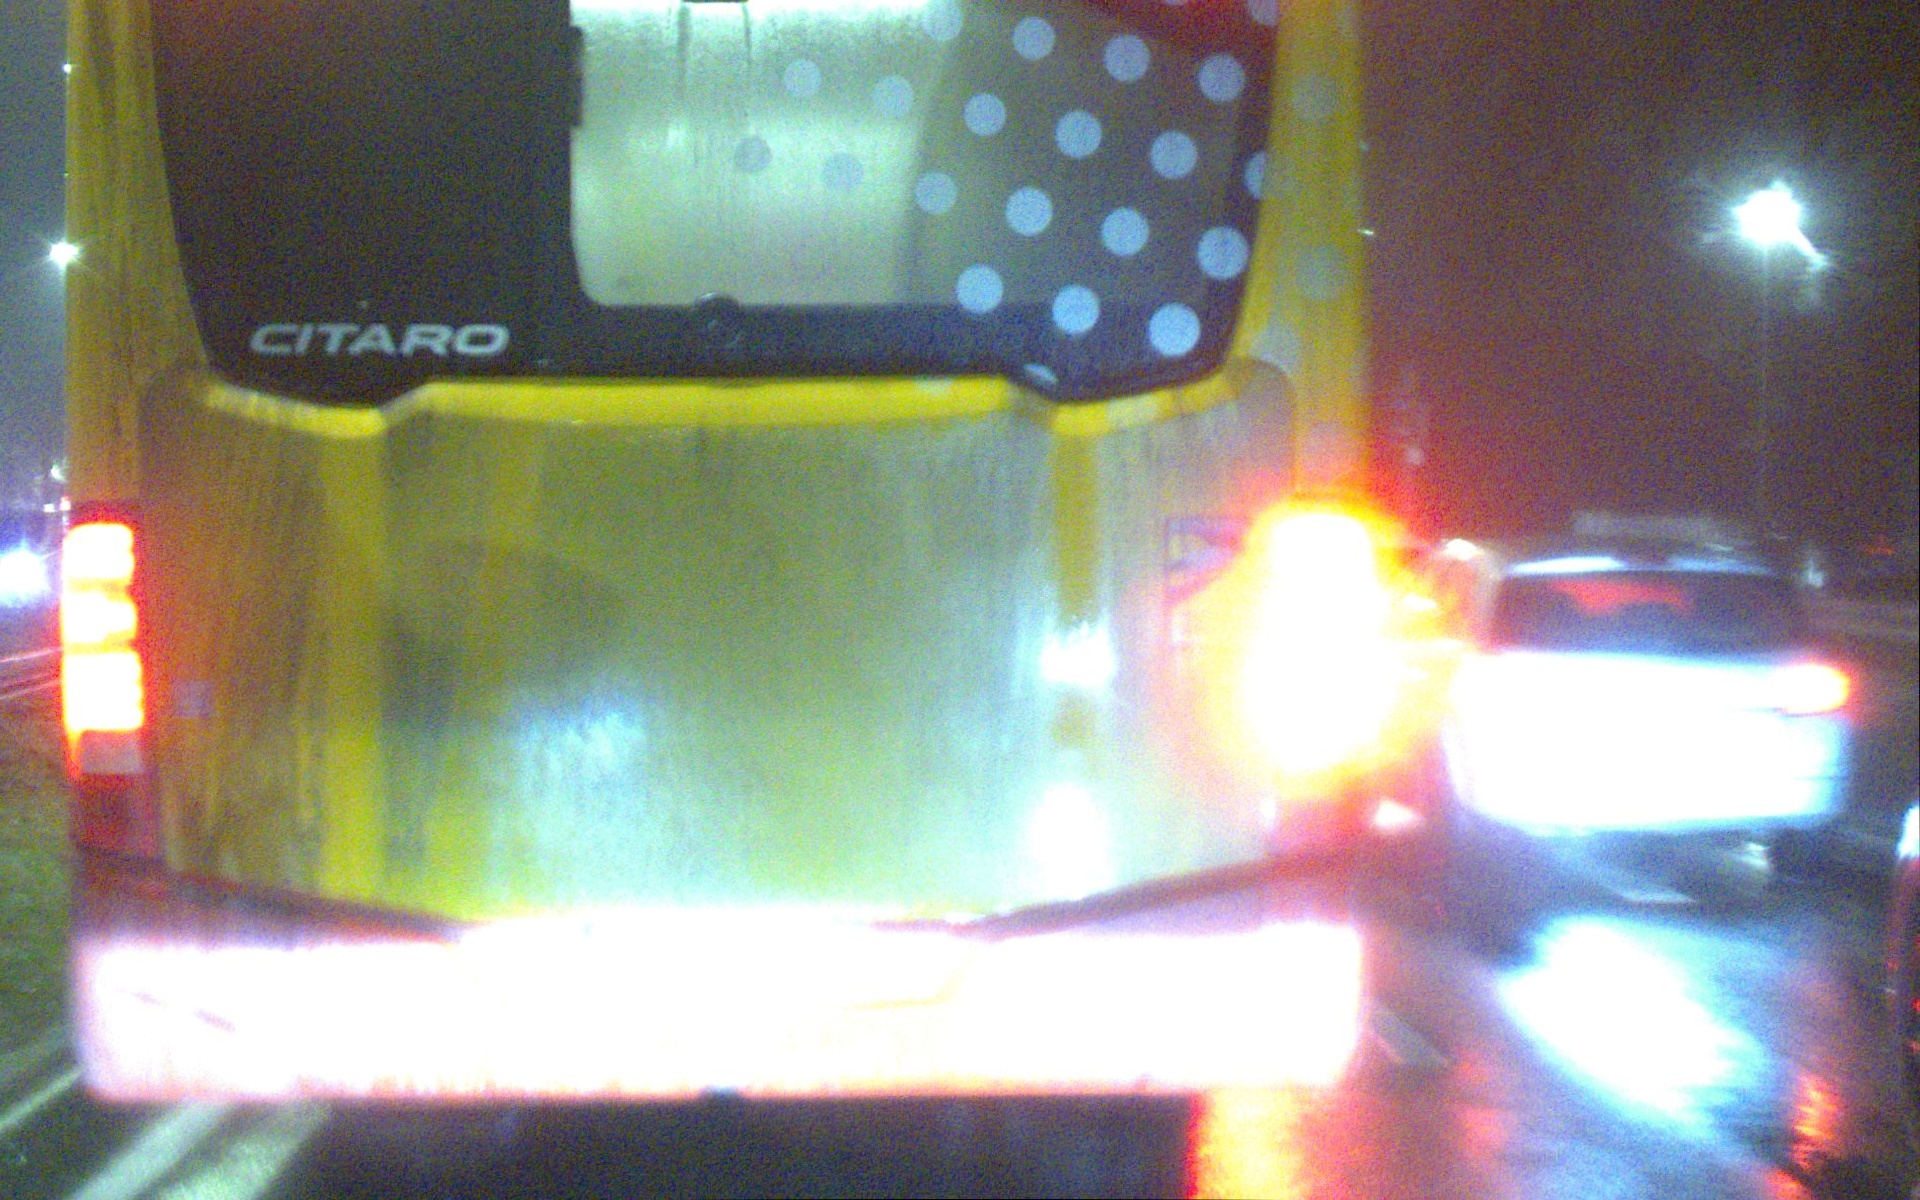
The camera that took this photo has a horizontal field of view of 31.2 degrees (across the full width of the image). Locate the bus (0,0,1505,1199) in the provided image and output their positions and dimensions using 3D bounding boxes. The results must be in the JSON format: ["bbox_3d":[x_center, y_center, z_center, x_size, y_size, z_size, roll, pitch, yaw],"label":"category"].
[{"bbox_3d":[-0.483,-0.269,10.530,2.815,3.013,8.688,2,1,0],"label":"bus"}]

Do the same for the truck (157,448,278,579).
[{"bbox_3d":[-14.876,-1.779,68.752,1.855,2.384,4.781,-1,4,-18],"label":"truck"}]

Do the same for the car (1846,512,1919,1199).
[{"bbox_3d":[3.083,0.639,6.384,1.739,1.559,3.777,2,1,-2],"label":"car"}]

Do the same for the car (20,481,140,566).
[{"bbox_3d":[-22.180,-1.923,86.527,1.993,2.007,4.001,2,0,-27],"label":"car"}]

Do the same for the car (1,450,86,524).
[{"bbox_3d":[-26.963,-3.309,101.216,2.120,2.007,4.001,2,0,-12],"label":"car"}]

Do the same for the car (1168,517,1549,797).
[{"bbox_3d":[2.388,0.290,21.517,1.819,1.585,3.777,1,1,-2],"label":"car"}]

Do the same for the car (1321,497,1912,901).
[{"bbox_3d":[2.802,0.358,15.515,1.819,1.585,3.777,1,1,-2],"label":"car"}]

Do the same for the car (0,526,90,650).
[{"bbox_3d":[-12.137,-0.184,43.123,1.993,1.481,4.001,0,1,-9],"label":"car"}]
